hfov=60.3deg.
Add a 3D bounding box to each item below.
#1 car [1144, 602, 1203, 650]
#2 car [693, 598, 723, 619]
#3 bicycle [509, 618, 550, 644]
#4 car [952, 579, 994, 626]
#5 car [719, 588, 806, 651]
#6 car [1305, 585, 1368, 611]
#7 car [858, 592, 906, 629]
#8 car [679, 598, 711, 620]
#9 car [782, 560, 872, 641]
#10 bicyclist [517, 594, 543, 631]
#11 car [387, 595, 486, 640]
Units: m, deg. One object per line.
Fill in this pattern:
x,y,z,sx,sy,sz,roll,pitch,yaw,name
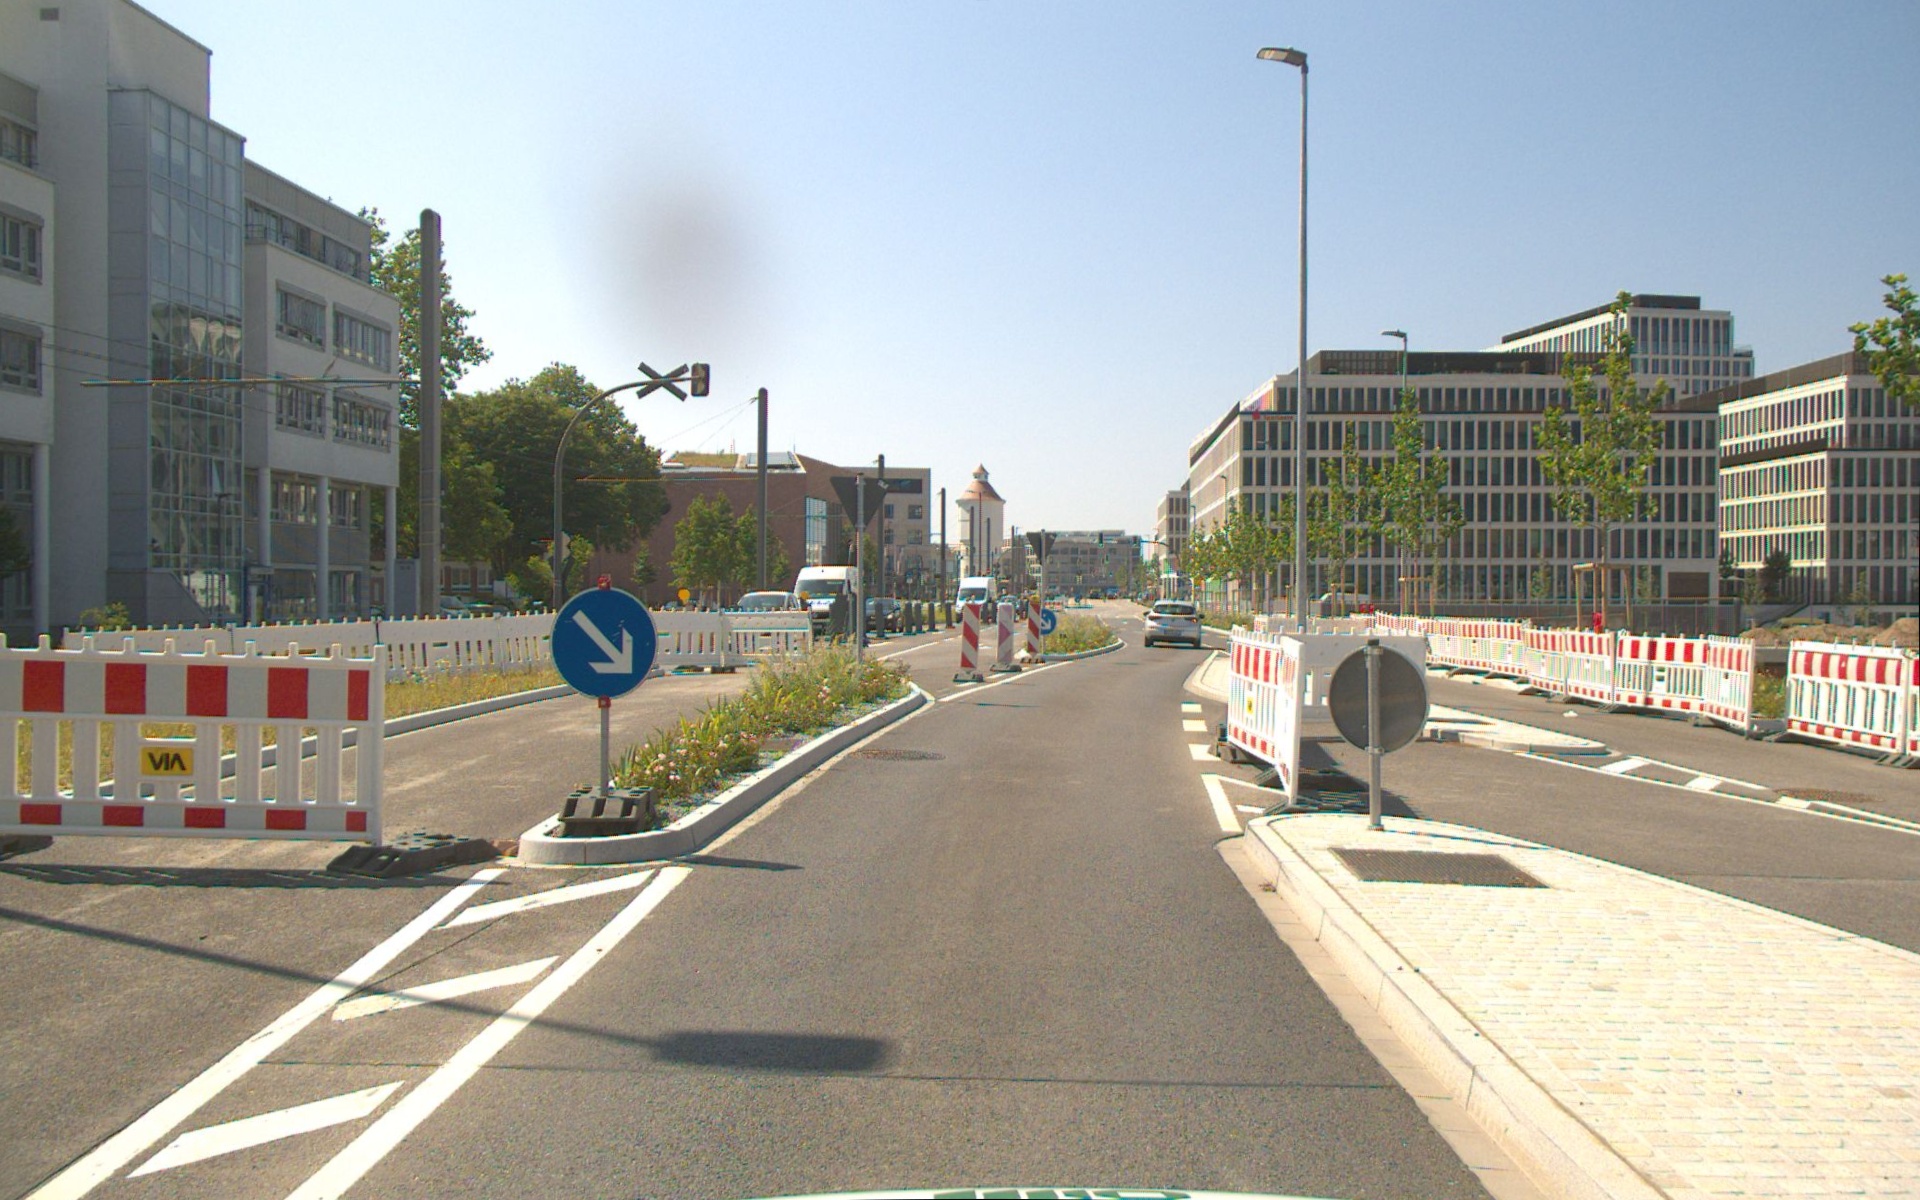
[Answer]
6.738,0.805,52.353,1.734,1.419,3.534,2,-1,6,car
-22.015,0.718,144.622,1.662,1.792,4.303,1,0,4,car
-18.422,1.320,70.841,0.738,1.035,2.832,1,0,5,bicycle
0.863,0.132,102.411,2.033,2.788,5.990,-1,0,5,car
-5.318,0.500,45.017,1.547,1.568,3.980,-2,0,5,car
37.190,-0.189,163.513,5.714,2.309,2.148,3,1,4,car
-3.329,0.442,71.203,1.513,1.482,4.195,-2,0,5,car
-22.193,0.754,138.608,1.662,1.792,3.942,1,0,5,car
-4.595,0.007,58.103,1.987,2.624,6.198,-2,0,6,car
-18.407,0.538,70.773,0.738,1.566,1.078,1,0,5,bicyclist
-26.713,0.879,84.388,4.967,2.218,2.109,1,0,31,car
